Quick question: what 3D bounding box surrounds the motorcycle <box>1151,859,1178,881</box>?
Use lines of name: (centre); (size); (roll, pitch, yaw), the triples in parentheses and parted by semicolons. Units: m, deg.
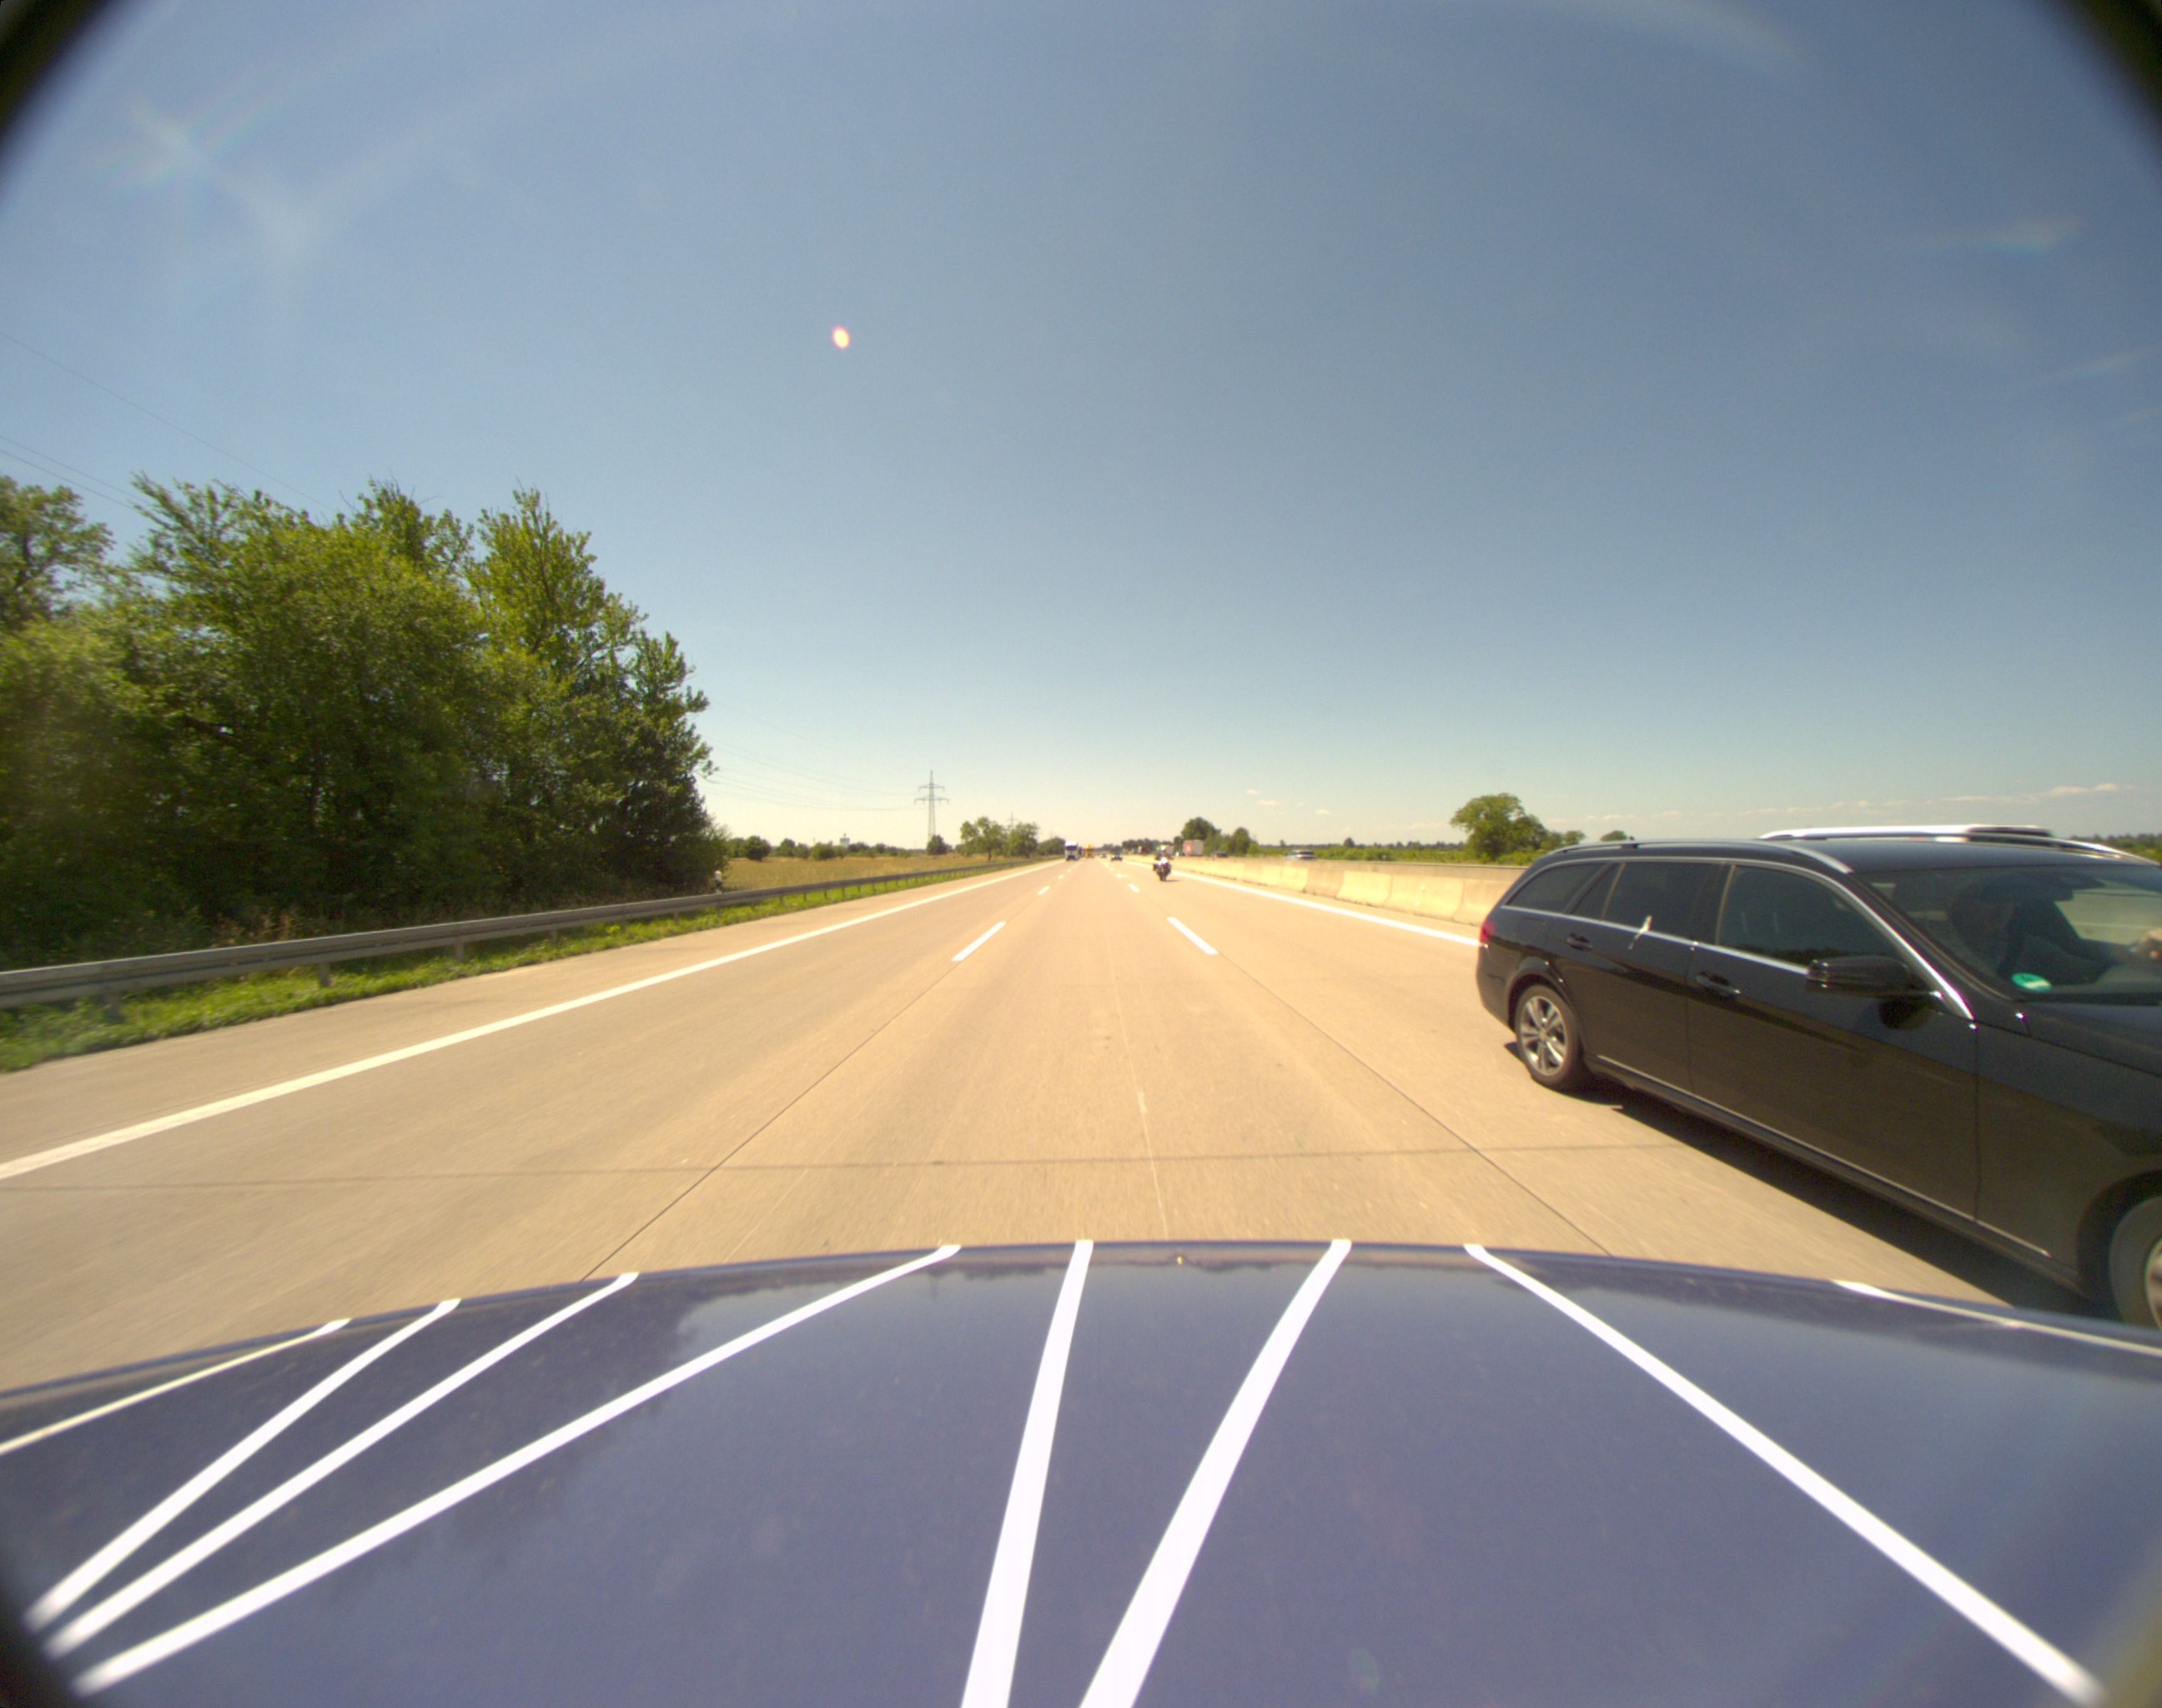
motorcycle: (4.167, 0.780, 38.037); (1.024, 1.042, 2.412); (-2, 0, -1)

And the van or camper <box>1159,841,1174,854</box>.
van or camper: (19.141, -1.409, 169.784); (2.532, 2.873, 7.937); (-1, 0, 0)

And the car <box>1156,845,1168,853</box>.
car: (15.587, -0.950, 146.412); (1.847, 1.606, 4.427); (0, 0, 0)

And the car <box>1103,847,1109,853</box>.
car: (7.022, -1.079, 210.984); (1.586, 1.527, 3.611); (-1, 1, 1)

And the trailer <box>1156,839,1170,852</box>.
trailer: (24.964, -2.611, 232.134); (2.742, 3.855, 11.103); (-1, 0, -1)

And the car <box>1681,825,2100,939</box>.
car: (14.574, 0.403, 14.434); (1.831, 1.708, 5.792); (-1, 1, 1)

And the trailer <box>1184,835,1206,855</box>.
trailer: (24.143, -1.818, 161.583); (3.007, 3.959, 12.341); (-1, 0, 1)

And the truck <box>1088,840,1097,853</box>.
truck: (3.415, -2.143, 229.622); (2.570, 3.711, 10.099); (-1, 0, 1)

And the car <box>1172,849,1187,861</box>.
car: (14.112, 0.136, 108.797); (1.692, 1.535, 4.338); (-1, 0, 1)

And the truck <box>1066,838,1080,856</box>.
truck: (-1.631, -1.469, 161.534); (2.570, 3.514, 10.099); (-1, 0, 1)

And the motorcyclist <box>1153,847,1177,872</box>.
motorcyclist: (4.172, 0.258, 37.795); (1.027, 1.202, 0.911); (-1, 1, -1)

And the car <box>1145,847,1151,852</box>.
car: (21.133, -1.407, 239.085); (1.700, 1.325, 4.000); (-1, 0, 1)

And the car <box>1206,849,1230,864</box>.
car: (13.811, 0.198, 76.869); (1.761, 1.488, 4.080); (0, 1, 1)

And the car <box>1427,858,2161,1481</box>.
car: (3.632, 0.796, 3.174); (1.895, 1.465, 5.603); (-1, 0, 1)

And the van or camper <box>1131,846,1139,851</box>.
van or camper: (17.521, -1.718, 246.658); (2.247, 1.683, 5.849); (-1, 1, 1)

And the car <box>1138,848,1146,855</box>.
car: (15.677, -0.631, 196.660); (1.798, 1.546, 4.601); (-1, 0, 1)

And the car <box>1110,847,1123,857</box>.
car: (5.910, -0.328, 126.992); (1.998, 1.518, 4.000); (-1, 1, 1)

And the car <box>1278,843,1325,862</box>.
car: (17.938, -0.124, 62.090); (2.070, 1.488, 6.135); (0, 1, 1)
